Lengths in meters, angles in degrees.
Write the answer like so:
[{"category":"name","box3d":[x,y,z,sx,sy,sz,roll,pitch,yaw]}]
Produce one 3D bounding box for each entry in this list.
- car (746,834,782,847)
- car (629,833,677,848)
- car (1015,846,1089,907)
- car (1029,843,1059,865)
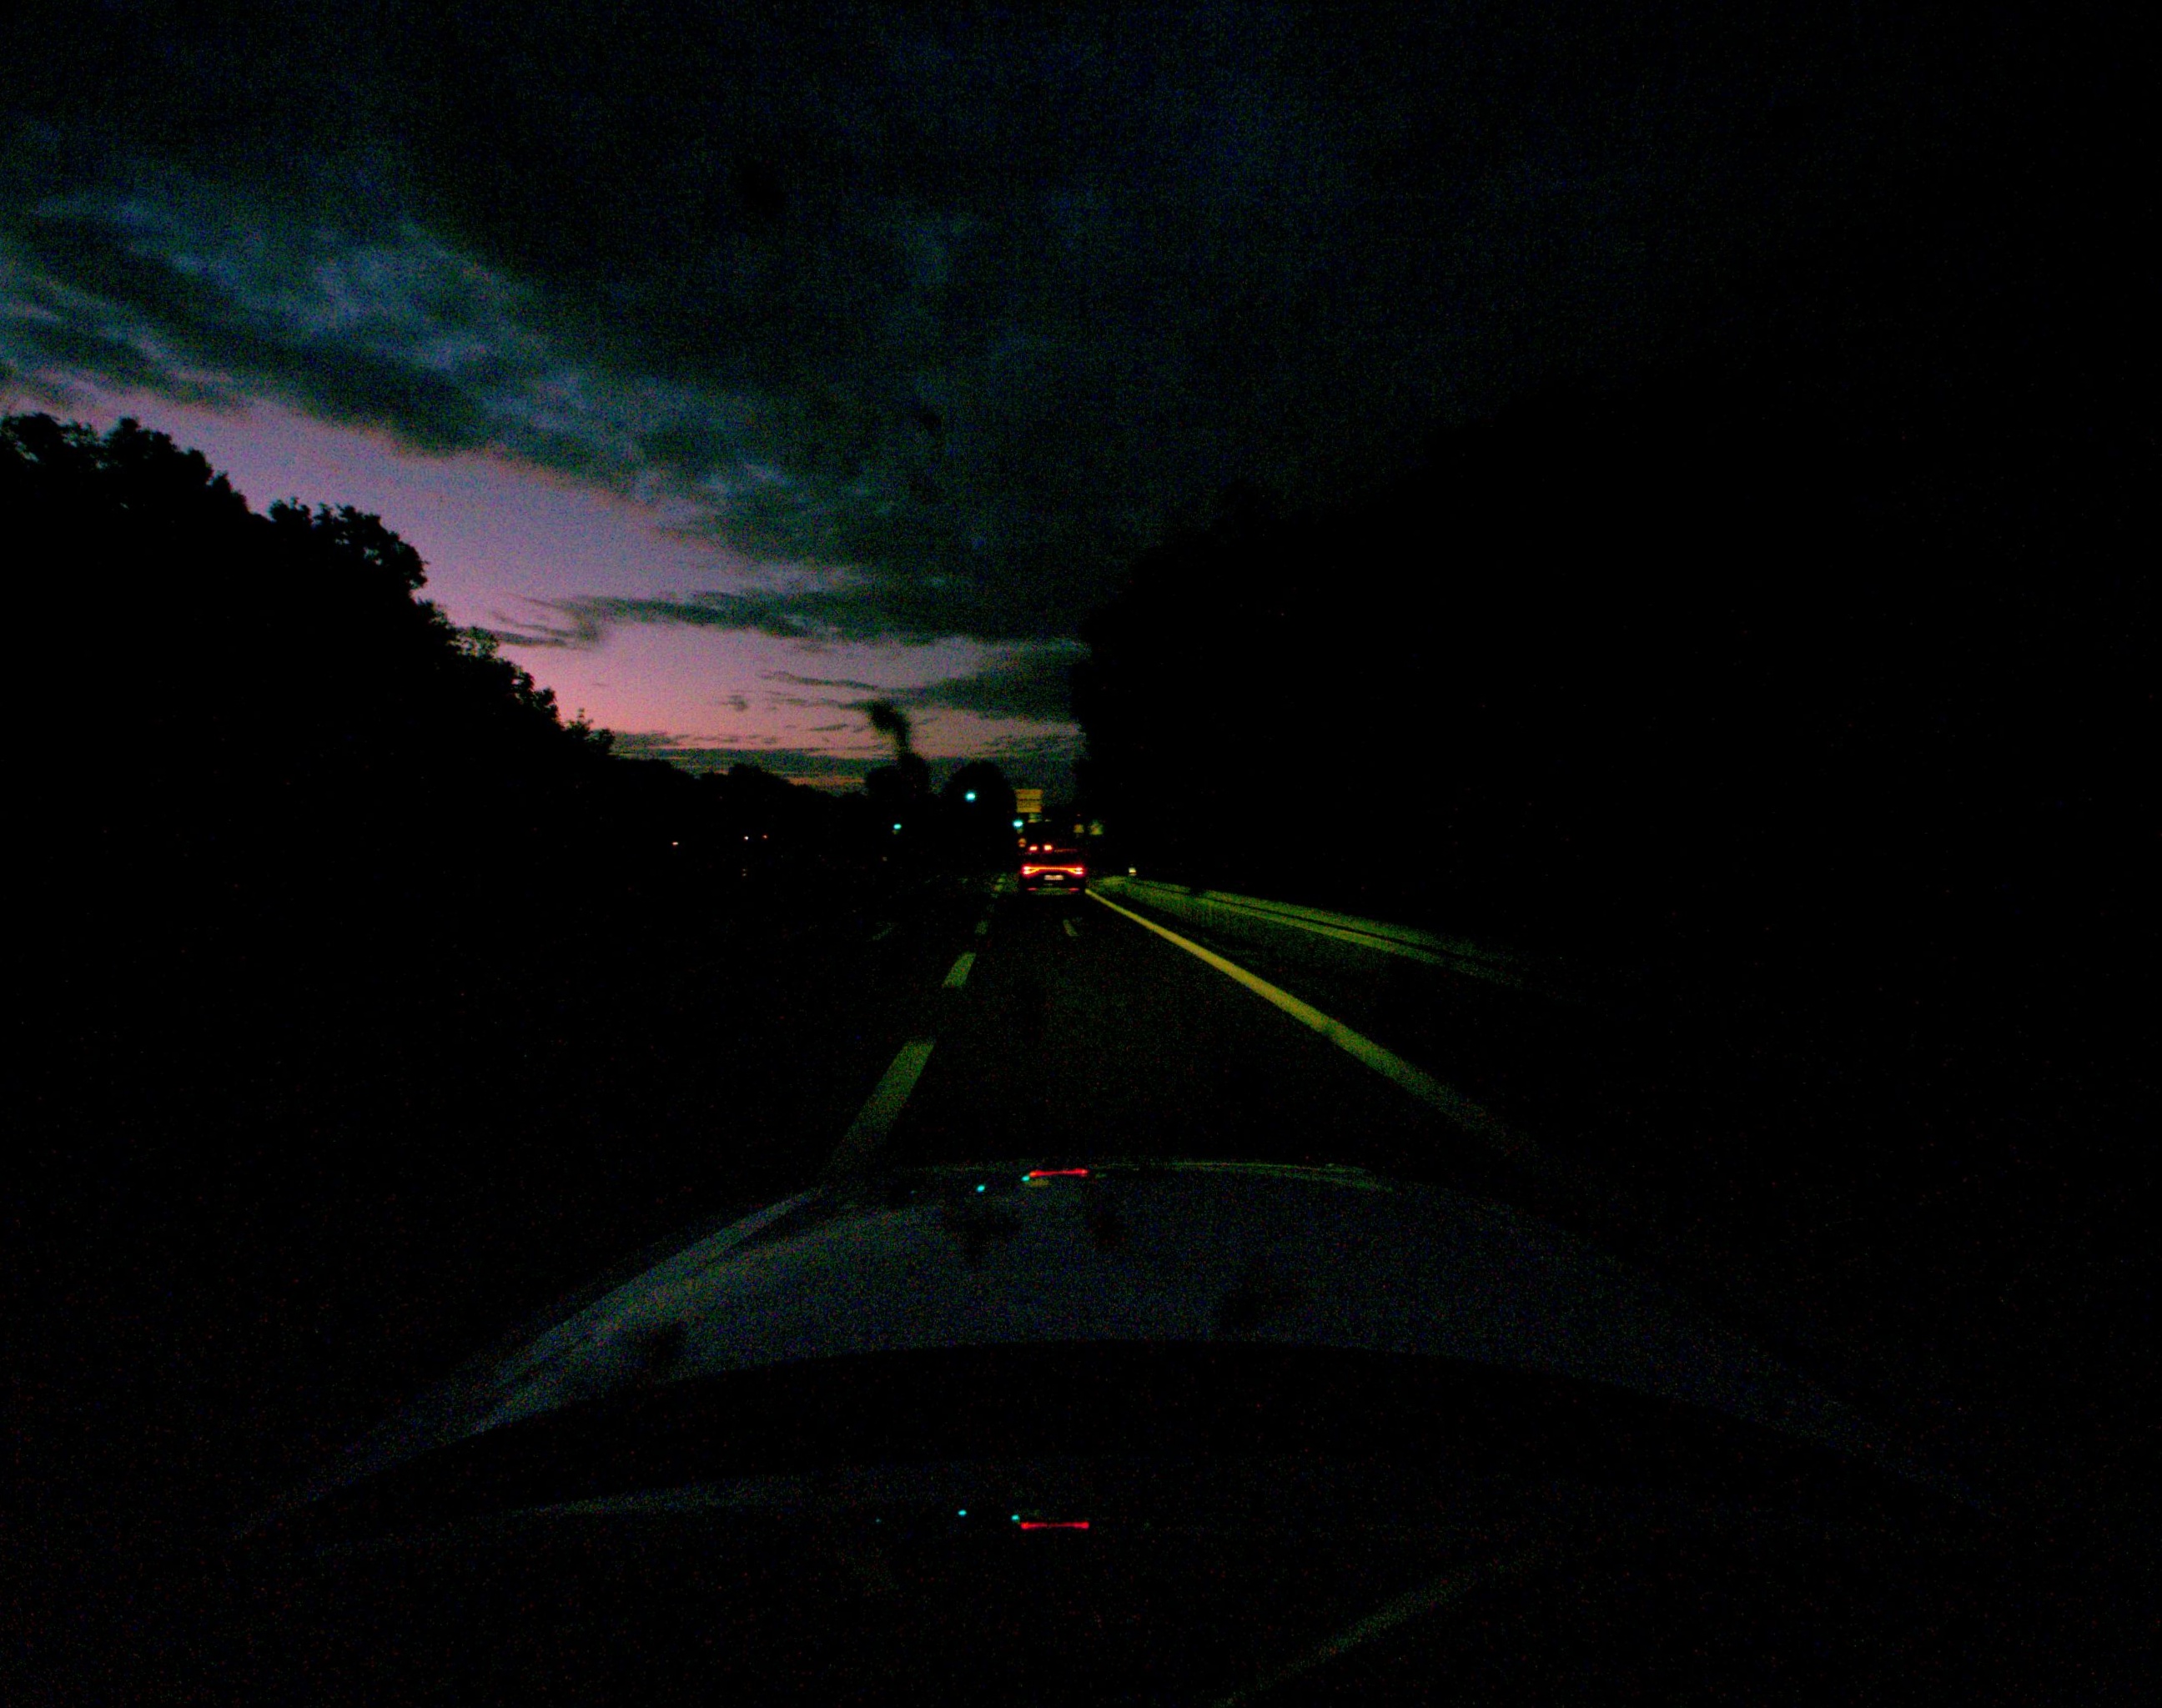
[{"category":"car","box3d":[-39.187,-1.689,100.702,3.999,1.453,1.987,1,0,-19]},{"category":"car","box3d":[-42.924,-1.378,81.727,4.000,1.453,1.987,-1,1,-20]},{"category":"car","box3d":[-0.959,0.603,23.986,1.898,1.620,4.547,0,0,-6]},{"category":"car","box3d":[-2.888,0.020,64.051,1.772,1.653,4.006,0,-1,6]}]
